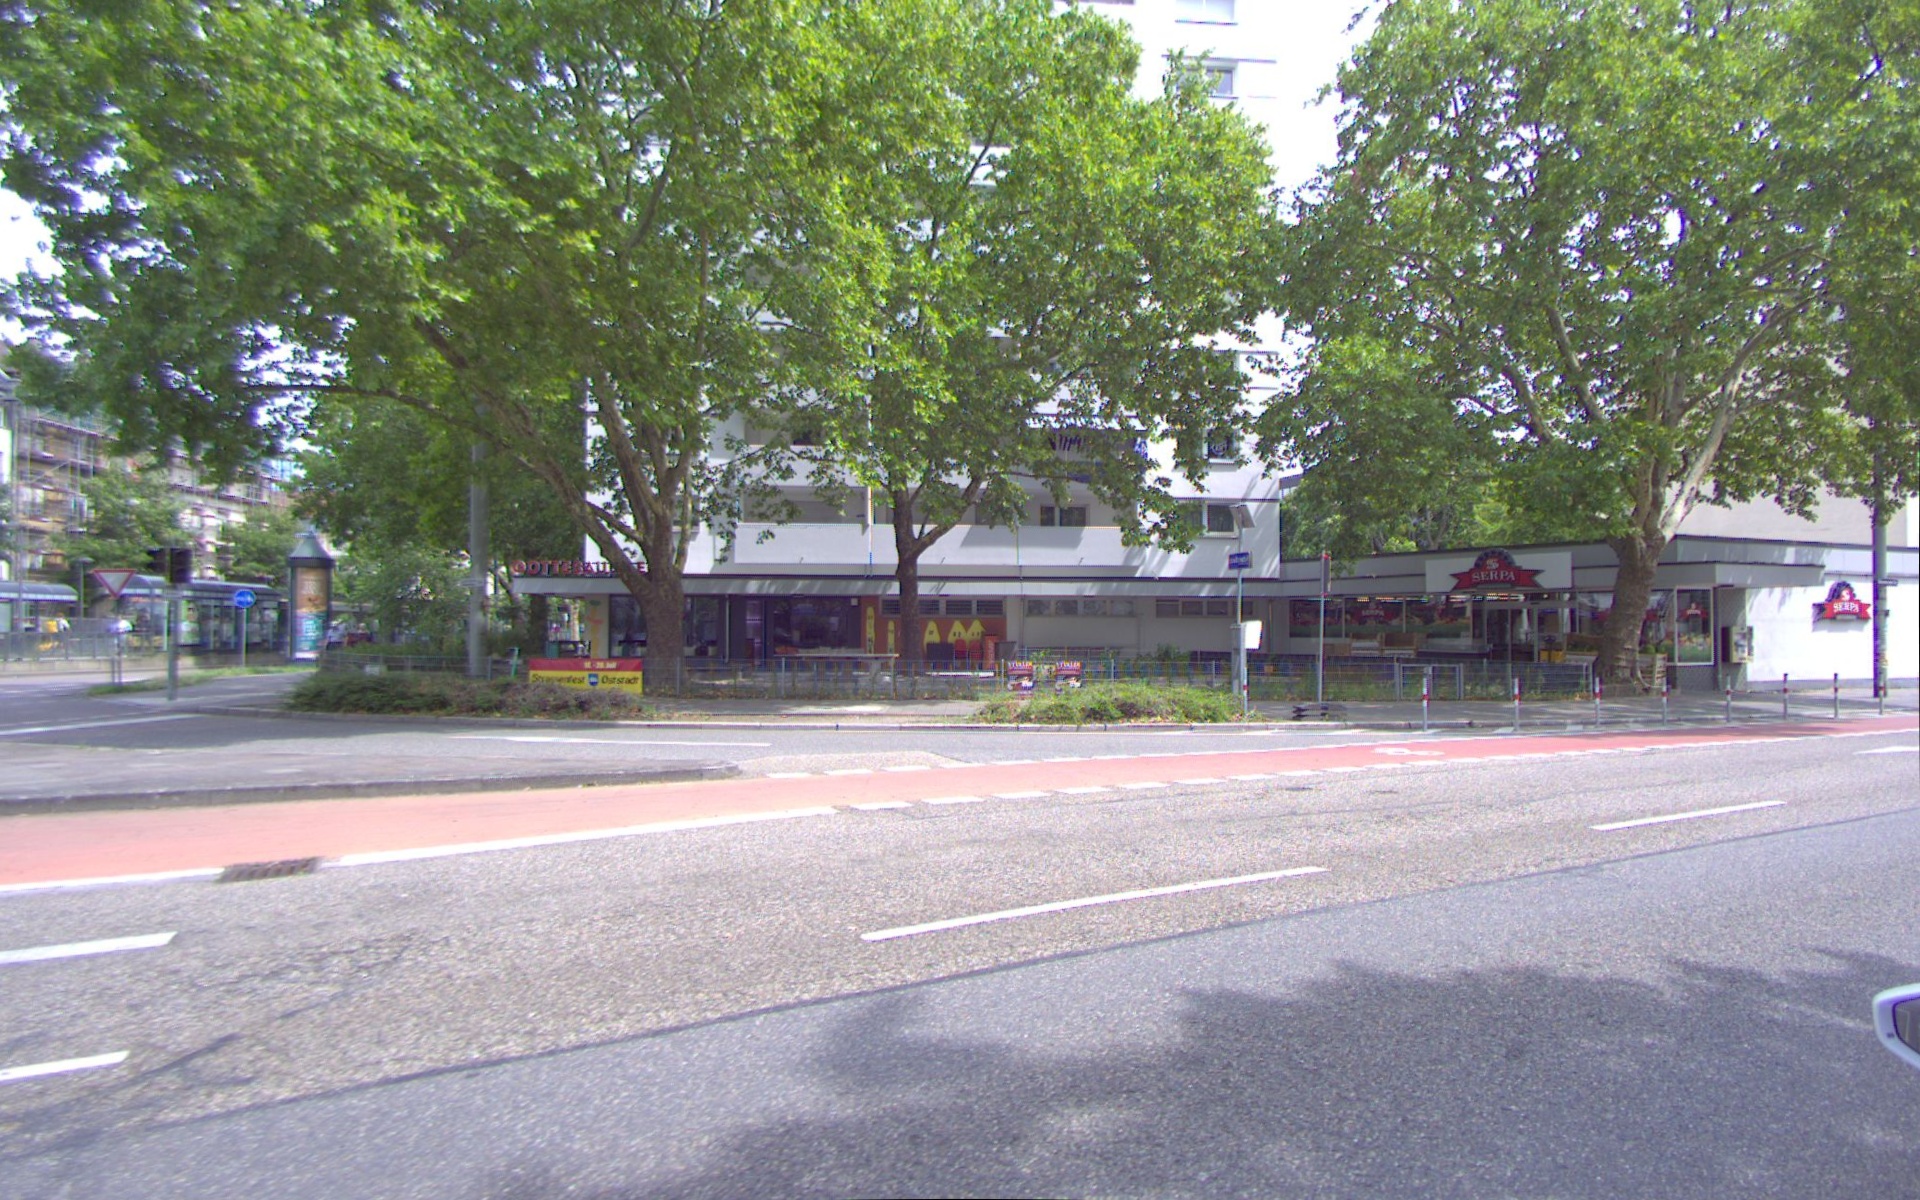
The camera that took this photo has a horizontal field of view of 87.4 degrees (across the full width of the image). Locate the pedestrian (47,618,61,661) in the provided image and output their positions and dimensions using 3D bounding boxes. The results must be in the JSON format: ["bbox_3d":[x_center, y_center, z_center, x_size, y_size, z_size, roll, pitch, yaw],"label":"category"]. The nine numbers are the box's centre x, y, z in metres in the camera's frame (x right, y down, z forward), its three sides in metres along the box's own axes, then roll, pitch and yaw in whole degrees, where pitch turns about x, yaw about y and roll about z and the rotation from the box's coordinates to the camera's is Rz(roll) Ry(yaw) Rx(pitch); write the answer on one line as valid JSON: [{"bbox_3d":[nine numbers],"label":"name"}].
[{"bbox_3d":[-40.788,1.773,45.231,0.320,1.908,0.311,0,-2,-15],"label":"pedestrian"}]

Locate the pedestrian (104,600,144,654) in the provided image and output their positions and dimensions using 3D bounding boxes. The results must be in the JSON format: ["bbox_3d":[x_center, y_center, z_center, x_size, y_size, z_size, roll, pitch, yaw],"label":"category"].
[{"bbox_3d":[-32.084,1.044,38.557,0.837,2.040,0.872,0,-1,-6],"label":"pedestrian"}]

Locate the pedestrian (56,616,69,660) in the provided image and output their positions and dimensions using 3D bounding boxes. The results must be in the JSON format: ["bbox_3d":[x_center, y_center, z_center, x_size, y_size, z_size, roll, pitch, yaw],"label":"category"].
[{"bbox_3d":[-40.462,1.701,45.276,0.320,1.980,0.311,0,-2,-15],"label":"pedestrian"}]

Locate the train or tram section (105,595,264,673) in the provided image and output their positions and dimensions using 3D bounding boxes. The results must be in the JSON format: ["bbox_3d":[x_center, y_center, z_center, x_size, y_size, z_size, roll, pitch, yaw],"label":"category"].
[{"bbox_3d":[-36.029,1.681,47.075,2.323,3.358,7.511,0,-3,-7],"label":"train or tram section"}]

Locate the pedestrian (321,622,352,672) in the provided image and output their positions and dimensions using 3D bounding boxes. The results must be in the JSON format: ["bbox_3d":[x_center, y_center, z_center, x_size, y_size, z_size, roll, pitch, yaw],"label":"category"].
[{"bbox_3d":[-20.665,1.556,33.293,0.683,1.645,0.505,0,-2,-8],"label":"pedestrian"}]

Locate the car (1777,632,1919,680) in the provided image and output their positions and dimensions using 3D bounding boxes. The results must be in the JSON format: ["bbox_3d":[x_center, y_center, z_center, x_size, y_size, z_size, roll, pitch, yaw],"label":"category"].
[{"bbox_3d":[34.373,2.129,38.374,1.820,1.708,4.629,1,-3,-18],"label":"car"}]

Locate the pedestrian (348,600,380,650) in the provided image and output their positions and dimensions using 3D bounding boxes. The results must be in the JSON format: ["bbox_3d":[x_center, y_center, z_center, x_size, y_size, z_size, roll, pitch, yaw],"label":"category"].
[{"bbox_3d":[-19.789,0.836,33.365,0.683,1.657,0.684,0,-2,-8],"label":"pedestrian"}]
